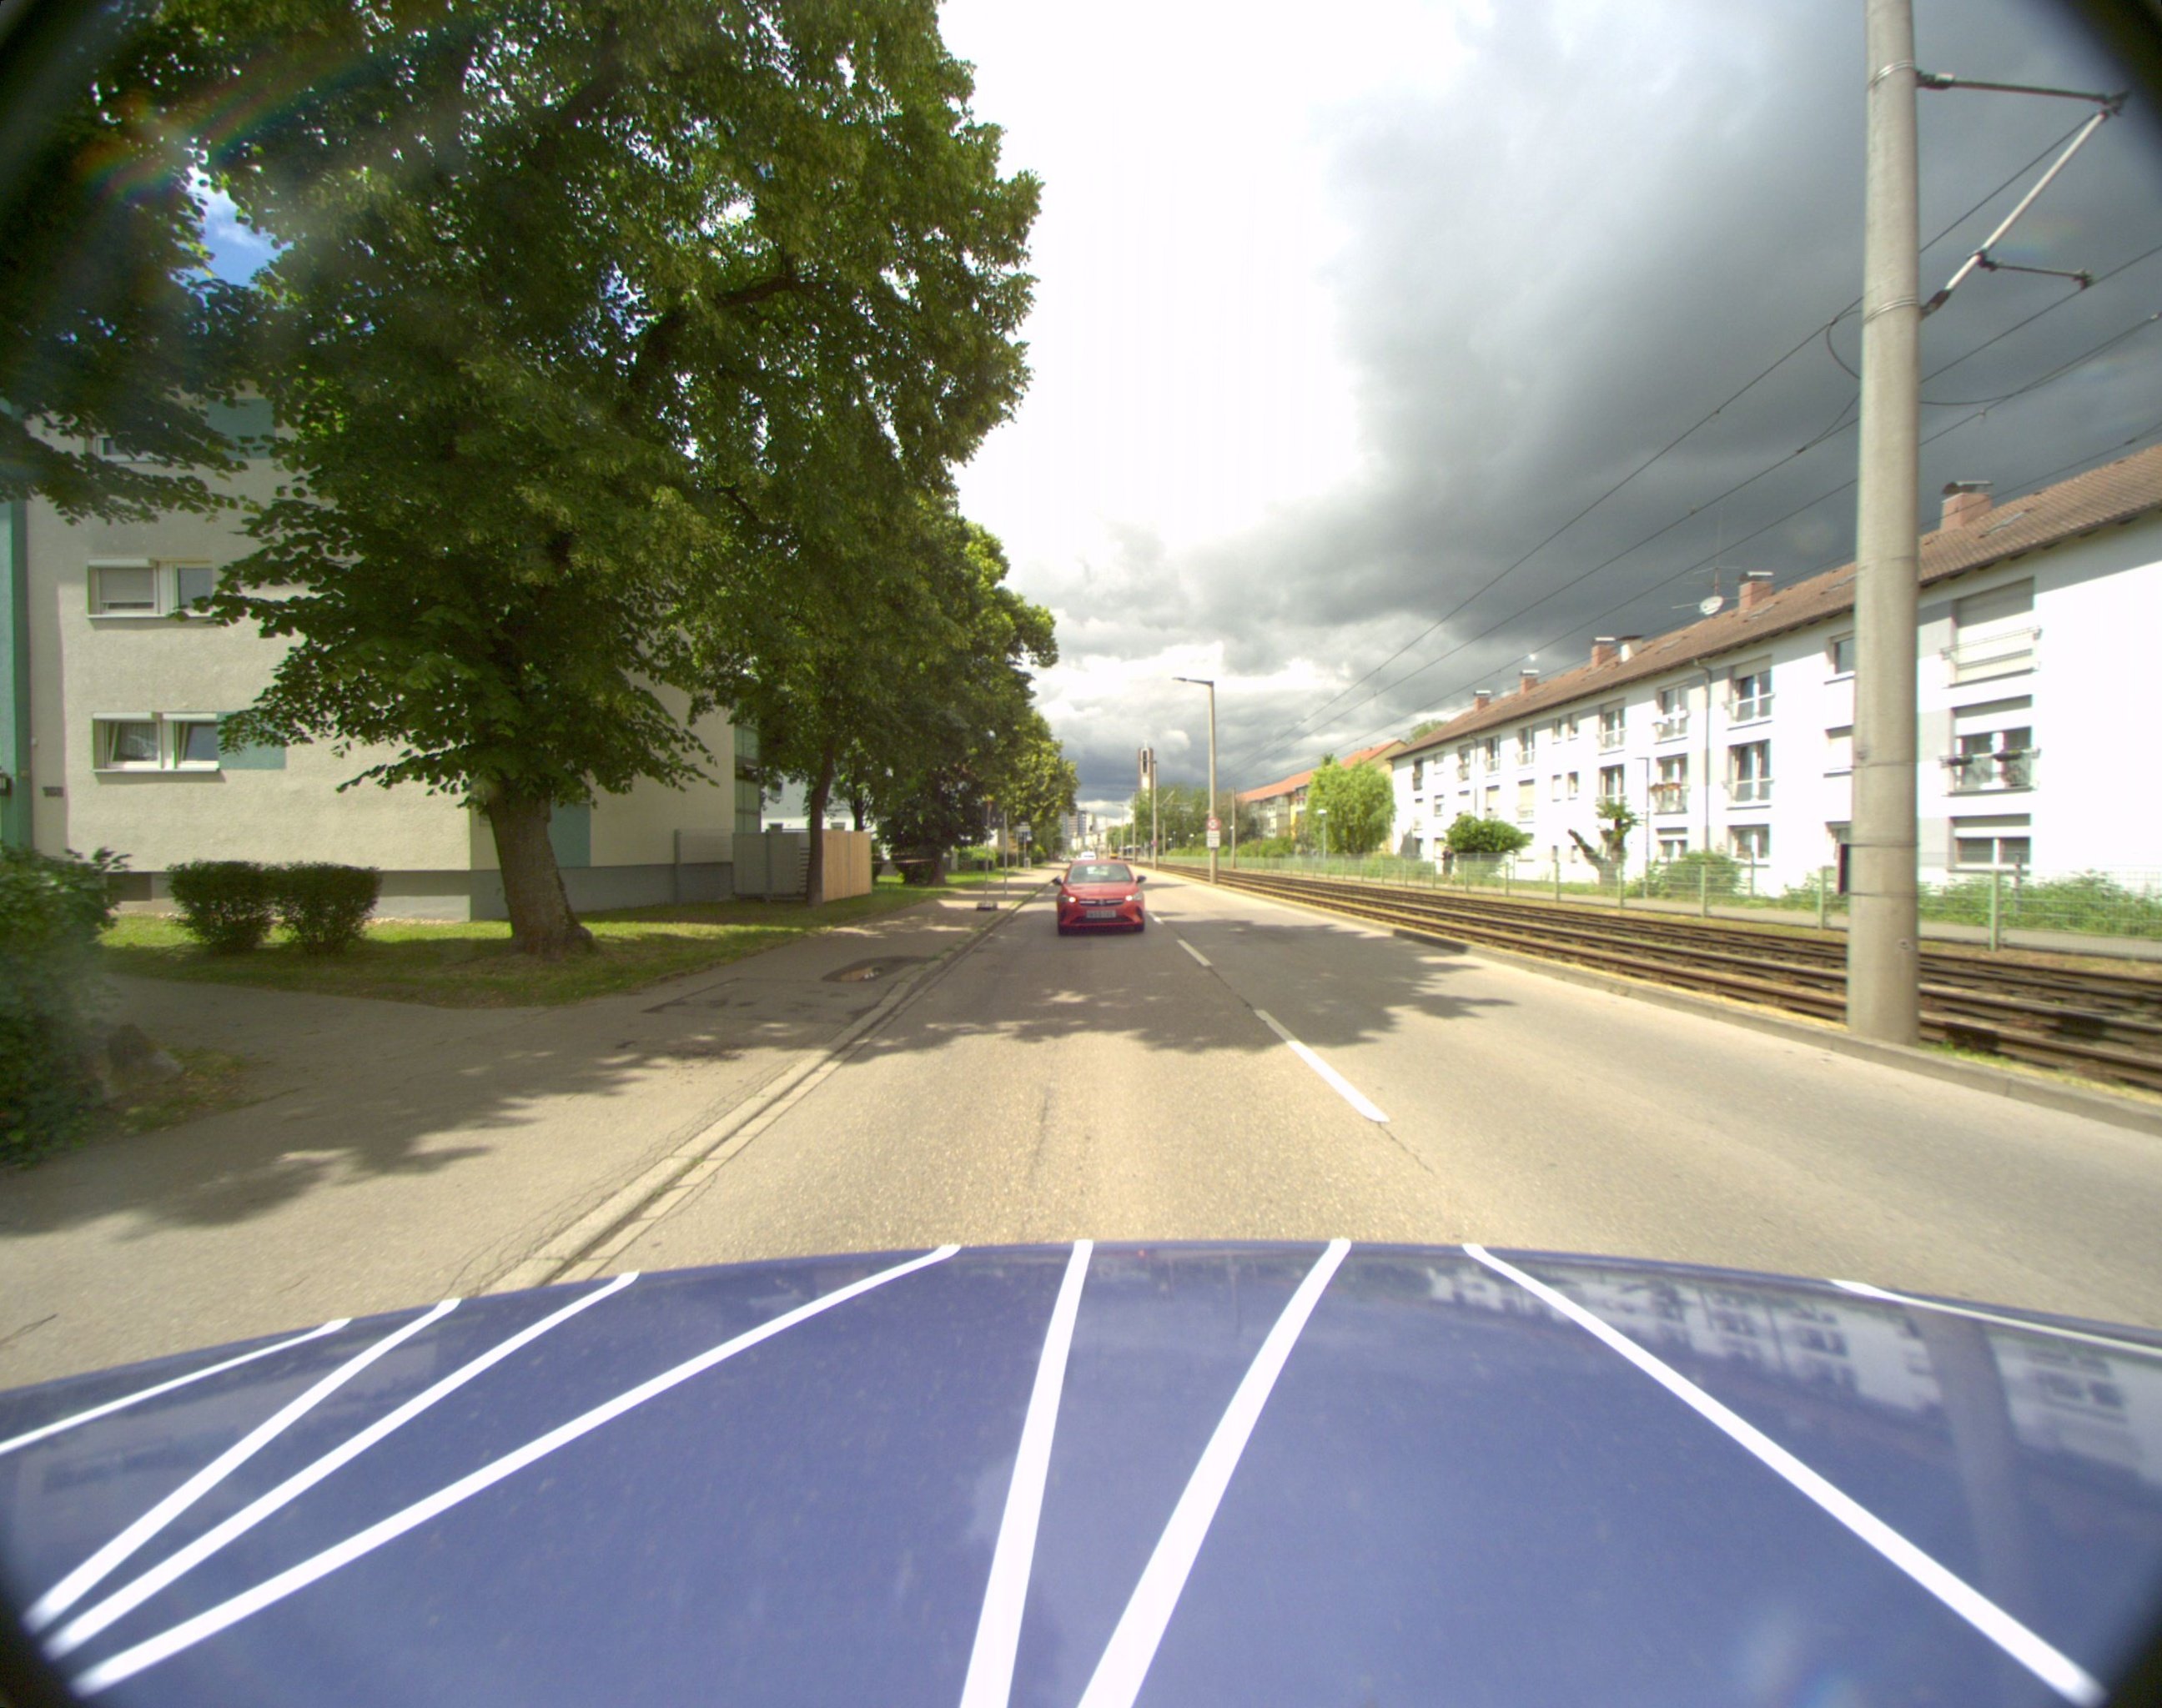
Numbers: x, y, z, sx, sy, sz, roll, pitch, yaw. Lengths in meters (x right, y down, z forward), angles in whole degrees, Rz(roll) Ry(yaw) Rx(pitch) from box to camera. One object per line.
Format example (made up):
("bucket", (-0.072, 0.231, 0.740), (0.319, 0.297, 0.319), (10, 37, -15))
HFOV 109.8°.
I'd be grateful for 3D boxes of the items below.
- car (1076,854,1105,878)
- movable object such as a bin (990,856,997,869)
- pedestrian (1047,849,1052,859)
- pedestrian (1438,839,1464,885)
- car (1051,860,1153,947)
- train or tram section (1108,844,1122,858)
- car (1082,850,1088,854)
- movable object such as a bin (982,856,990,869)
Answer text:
("car", (0.637, 0.751, 49.087), (1.756, 1.433, 4.226), (-1, 0, 1))
("movable object such as a bin", (-6.581, 0.627, 57.223), (0.497, 0.949, 0.580), (1, 1, 1))
("pedestrian", (-6.101, -0.004, 146.530), (0.811, 1.761, 0.817), (2, 1, 5))
("pedestrian", (15.013, 0.328, 30.837), (0.661, 1.838, 0.768), (1, 1, 1))
("car", (0.387, 0.889, 15.399), (1.756, 1.433, 4.226), (-1, 0, 1))
("train or tram section", (10.363, -0.938, 235.507), (2.988, 3.840, 18.534), (-2, 0, -1))
("car", (1.284, -0.695, 251.517), (1.633, 1.424, 4.166), (-2, 0, -3))
("movable object such as a bin", (-7.179, 0.631, 57.196), (0.501, 0.942, 0.551), (1, 1, 1))
